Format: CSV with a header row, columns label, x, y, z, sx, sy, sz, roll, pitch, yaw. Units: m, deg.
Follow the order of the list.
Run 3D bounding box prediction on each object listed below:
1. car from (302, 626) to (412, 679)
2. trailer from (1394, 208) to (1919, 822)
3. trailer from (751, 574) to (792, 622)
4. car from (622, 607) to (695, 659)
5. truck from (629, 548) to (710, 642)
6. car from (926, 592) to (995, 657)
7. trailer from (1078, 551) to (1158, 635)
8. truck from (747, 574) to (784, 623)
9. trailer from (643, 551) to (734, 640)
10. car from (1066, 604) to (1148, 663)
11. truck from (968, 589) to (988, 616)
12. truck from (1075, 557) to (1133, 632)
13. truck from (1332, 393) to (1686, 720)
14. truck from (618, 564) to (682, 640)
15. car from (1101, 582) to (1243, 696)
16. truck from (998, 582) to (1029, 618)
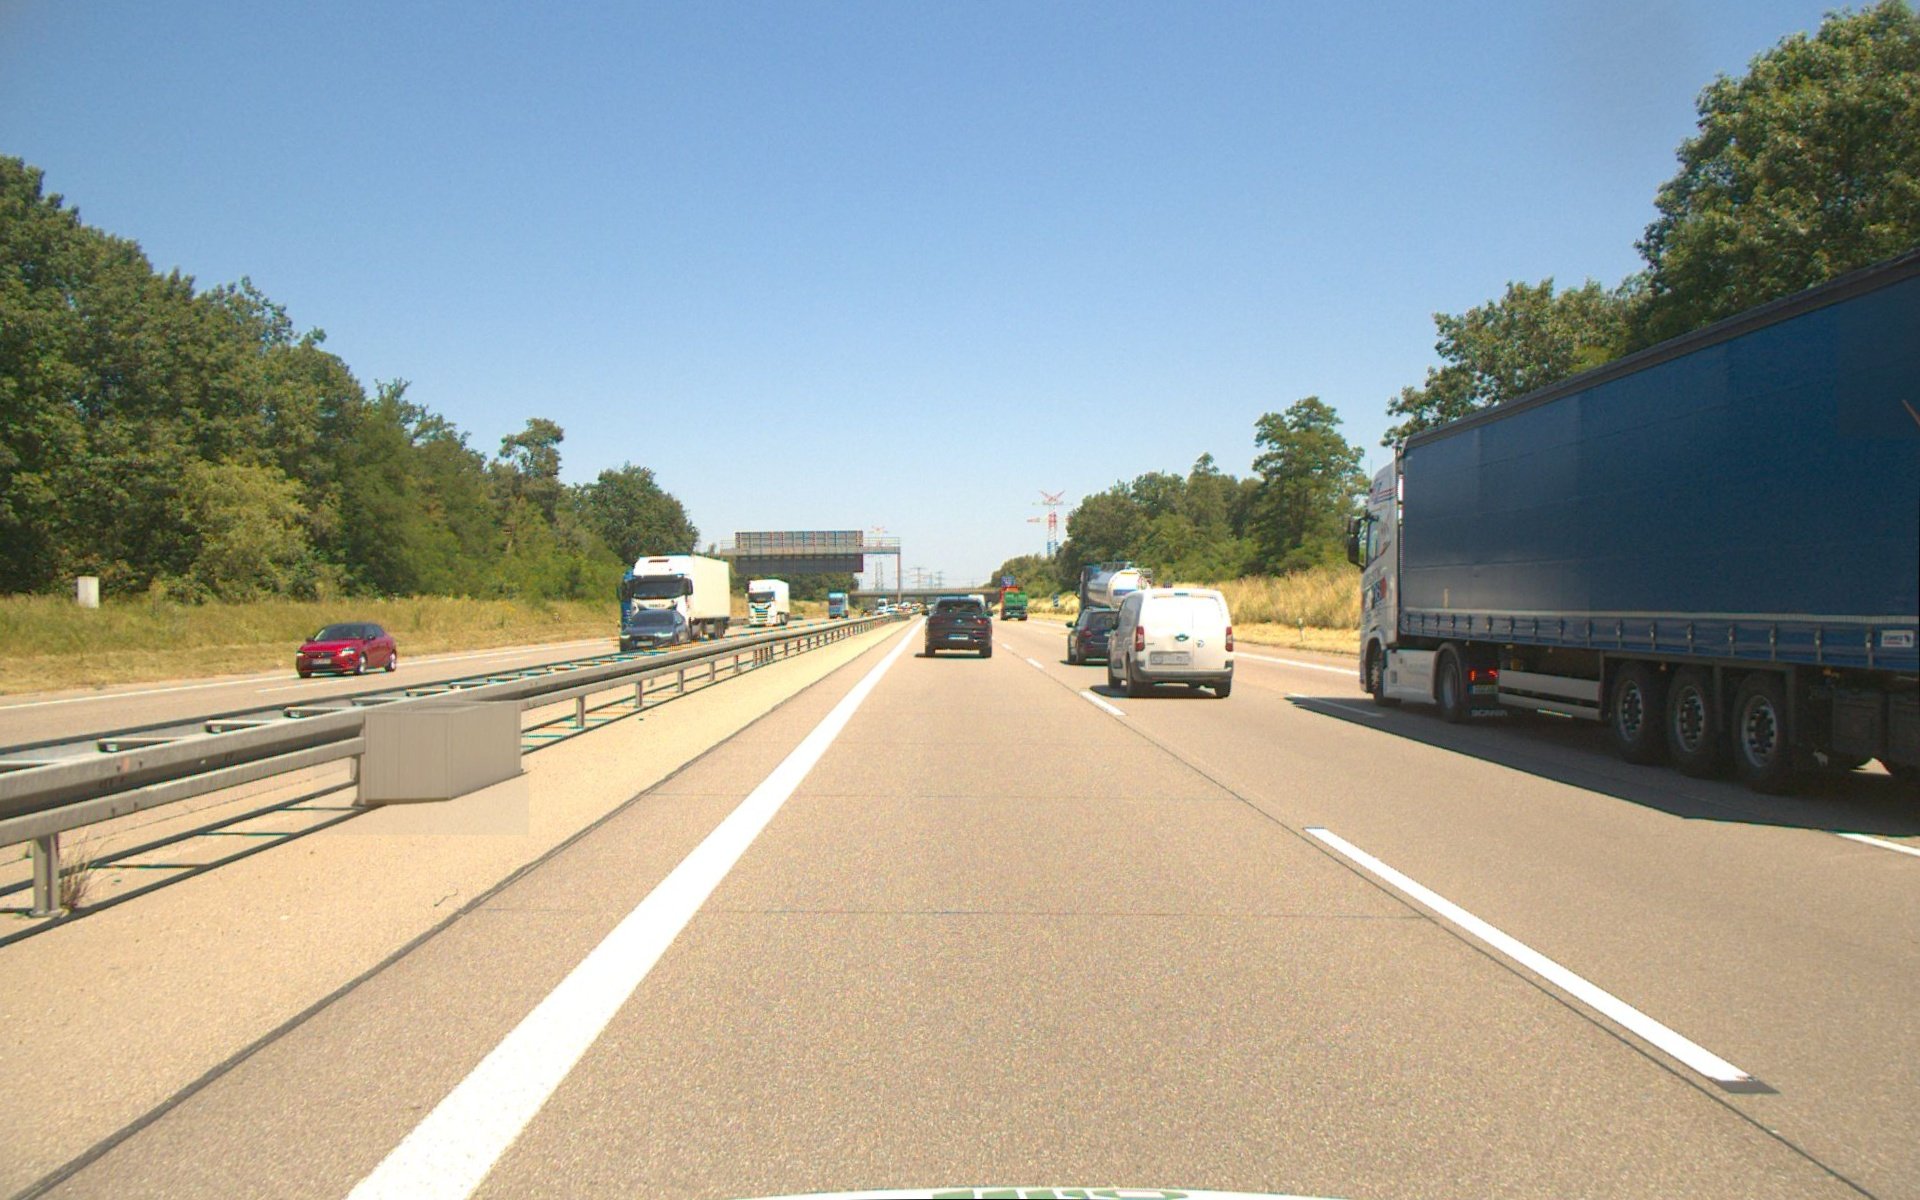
label,x,y,z,sx,sy,sz,roll,pitch,yaw
car,-16.793,1.434,46.250,1.606,1.298,4.132,-2,0,-1
trailer,8.183,-0.552,17.668,3.219,4.293,13.561,1,0,-1
trailer,-17.812,-0.167,156.610,2.647,4.259,12.060,-2,0,-1
car,-9.663,1.036,53.292,1.584,1.508,4.623,-2,0,-1
truck,-13.359,-0.206,76.420,2.615,4.059,6.339,-2,0,-1
car,-0.041,0.676,49.761,1.901,1.782,5.811,1,1,-2
trailer,7.889,-0.297,83.987,2.628,3.904,12.006,1,0,-1
truck,-17.653,-0.172,150.293,2.647,4.259,6.187,-2,0,-1
trailer,-13.535,-0.218,83.508,2.615,4.059,13.127,-2,0,-1
car,3.870,0.865,44.080,1.738,1.498,3.871,0,0,-1
truck,2.010,0.297,186.924,2.018,2.965,7.001,0,0,-1
truck,7.759,-0.287,89.685,2.628,3.904,4.443,1,0,-1
truck,8.003,-0.566,25.057,3.219,4.293,6.006,1,0,-1
truck,-18.134,0.114,97.029,2.615,4.242,6.187,-2,0,-1
car,3.704,0.648,29.728,1.777,1.859,5.109,0,0,-1
truck,5.991,0.023,186.368,2.928,3.794,10.086,1,0,-1
